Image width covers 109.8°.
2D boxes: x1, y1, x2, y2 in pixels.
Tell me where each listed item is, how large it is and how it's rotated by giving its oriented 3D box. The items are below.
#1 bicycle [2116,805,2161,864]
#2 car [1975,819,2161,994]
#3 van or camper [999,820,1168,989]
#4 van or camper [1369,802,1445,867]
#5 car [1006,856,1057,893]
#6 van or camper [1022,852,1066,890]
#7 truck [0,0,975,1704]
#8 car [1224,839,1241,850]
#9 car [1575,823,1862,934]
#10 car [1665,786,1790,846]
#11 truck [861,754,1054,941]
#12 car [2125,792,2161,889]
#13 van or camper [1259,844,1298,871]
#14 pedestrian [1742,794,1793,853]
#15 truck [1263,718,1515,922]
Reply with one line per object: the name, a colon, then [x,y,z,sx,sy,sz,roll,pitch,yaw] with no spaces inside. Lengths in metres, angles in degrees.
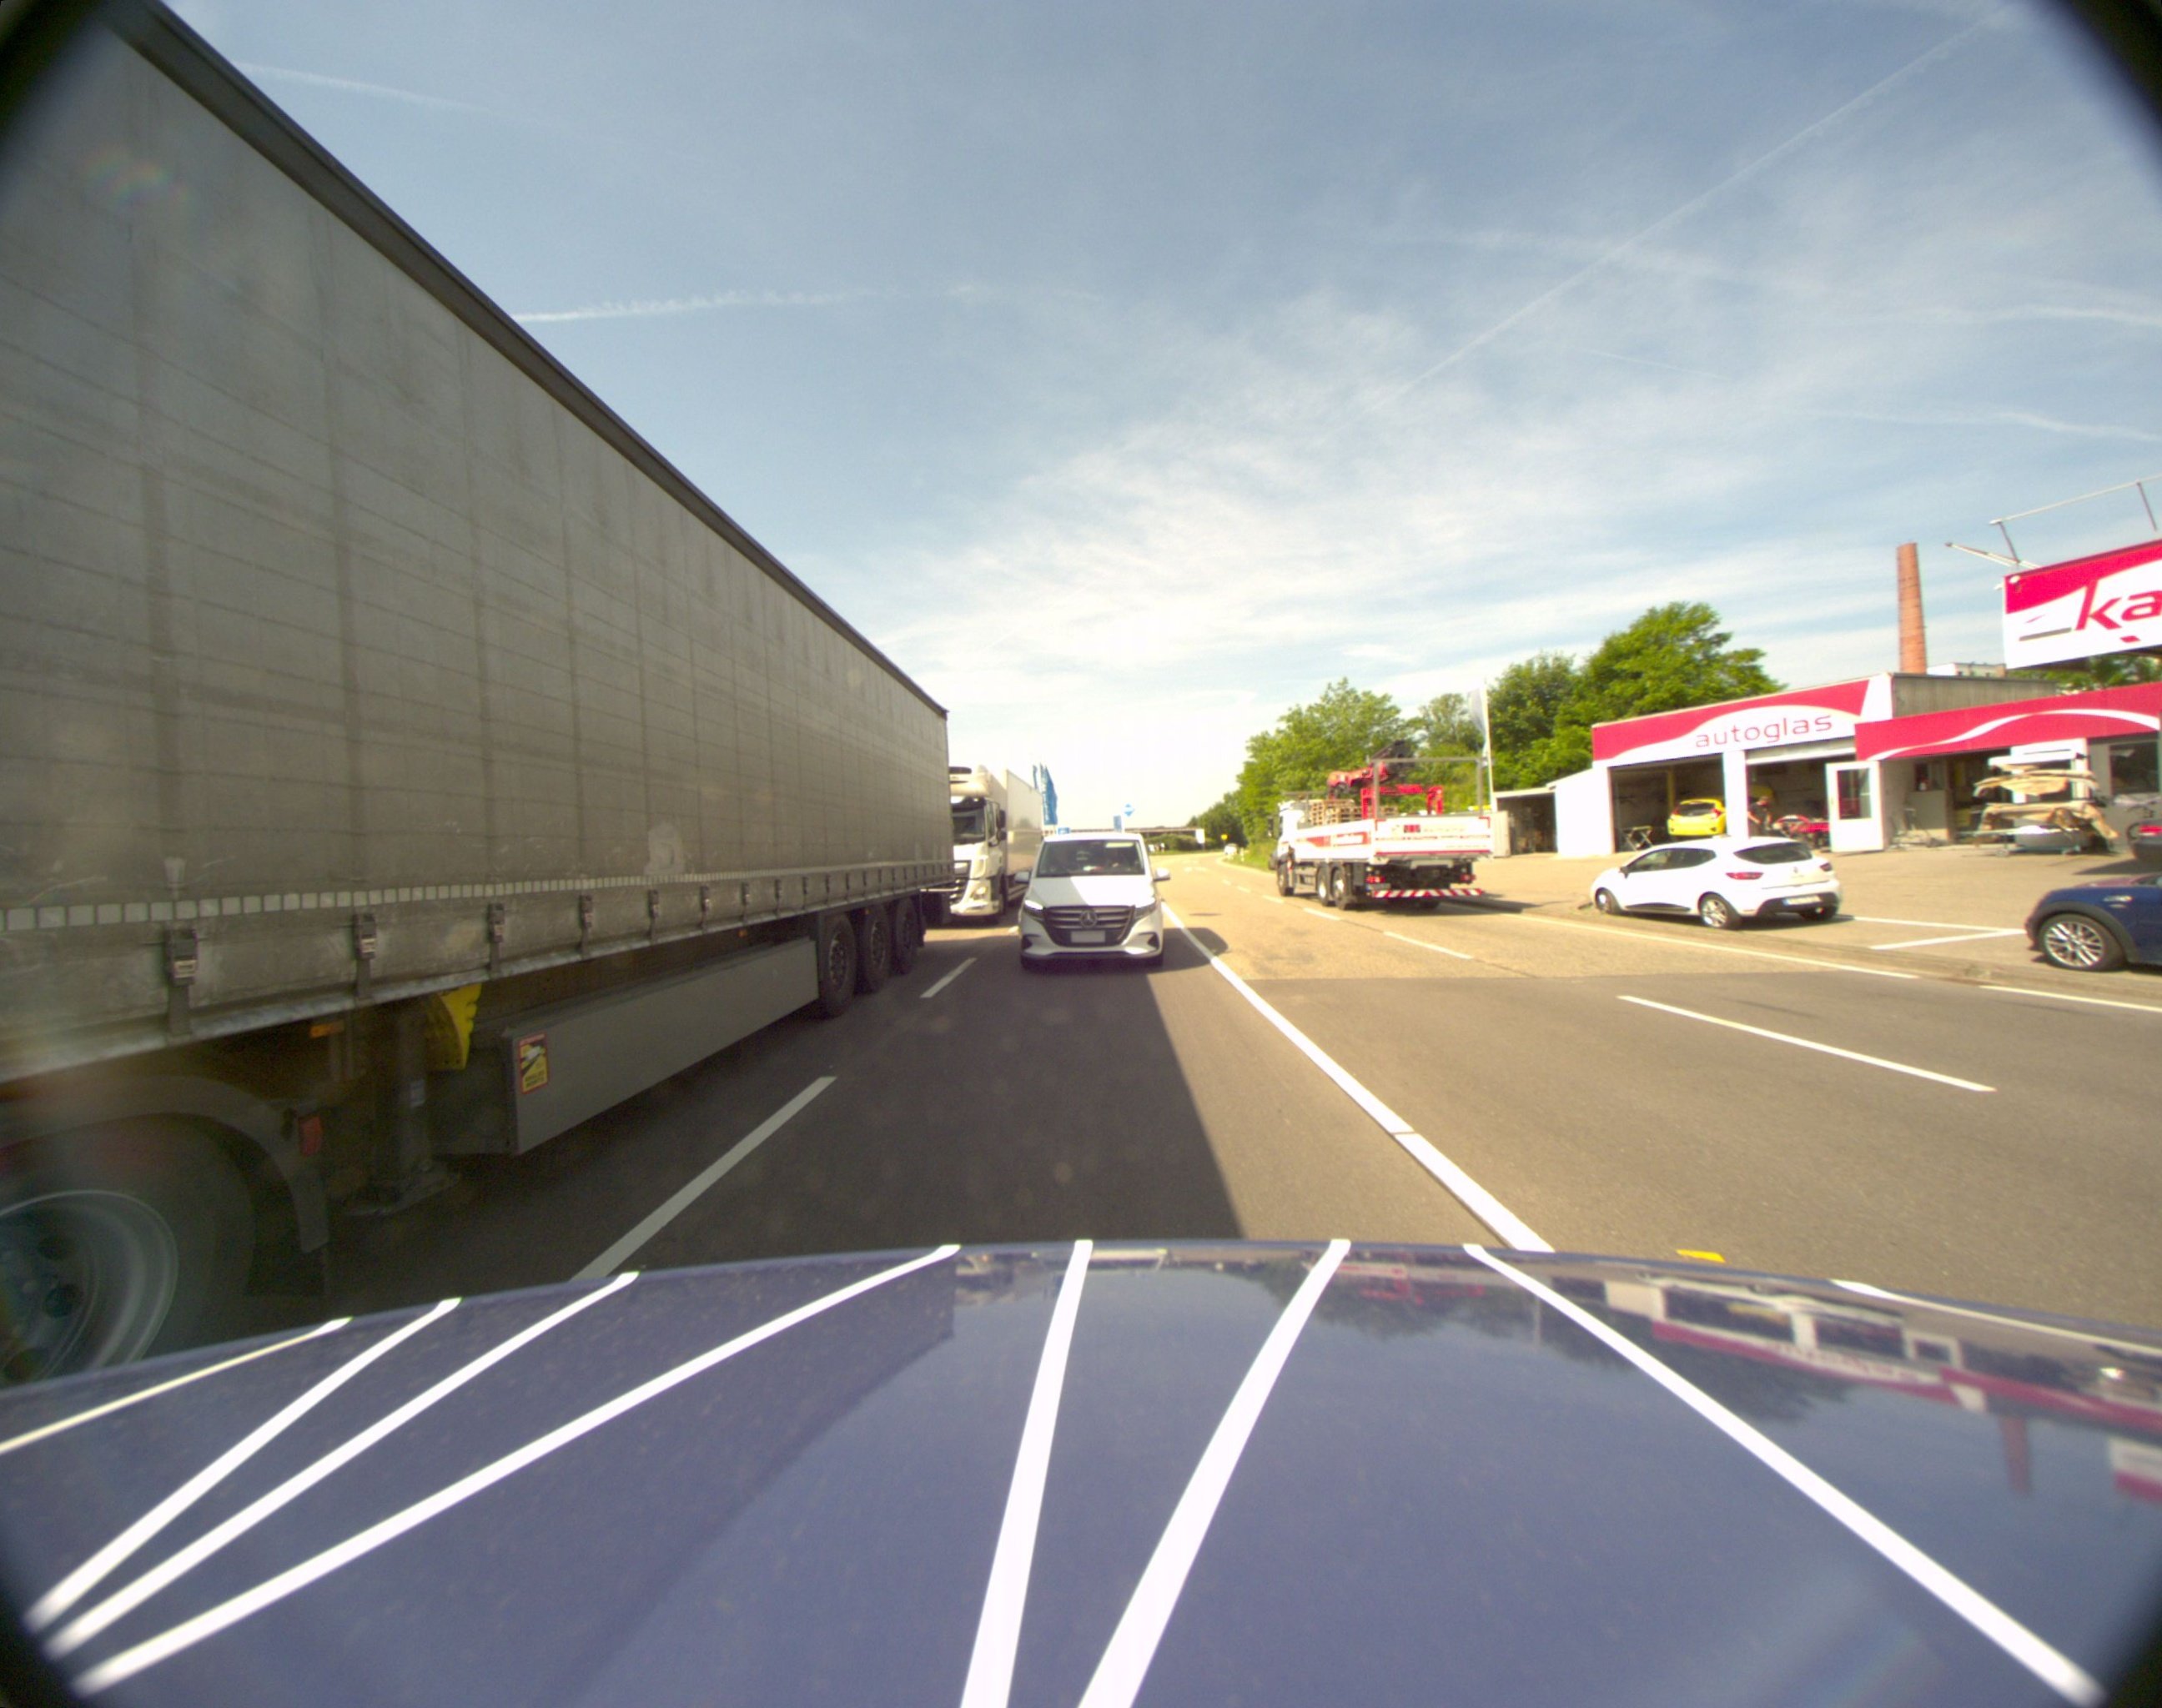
bicycle: [21.655,-0.406,15.318,2.000,0.966,0.414,-8,3,-21]
car: [10.963,0.482,6.641,1.783,1.485,3.781,-7,0,2]
van or camper: [0.134,0.610,11.920,1.998,2.002,5.291,-2,0,2]
van or camper: [14.822,-0.881,34.926,2.157,2.484,5.955,-6,0,15]
car: [-2.123,0.855,33.706,1.739,1.420,4.225,-3,1,2]
van or camper: [-1.942,0.852,41.303,1.750,1.777,5.133,-3,1,3]
truck: [-3.655,-0.330,4.804,2.897,4.241,16.709,-3,0,2]
car: [23.116,-1.475,115.835,1.937,1.665,4.005,-1,1,20]
car: [11.009,0.357,13.569,1.783,1.608,4.000,-3,1,2]
car: [22.651,-1.331,26.622,3.674,1.715,1.736,-6,2,-22]
truck: [-2.783,-0.171,21.418,2.886,3.789,11.143,-3,0,3]
car: [18.679,-0.365,10.645,1.861,1.496,4.390,-6,-1,-22]
van or camper: [12.605,0.172,48.706,1.643,1.515,4.468,-4,1,5]
pedestrian: [21.199,-0.936,23.469,0.724,1.752,0.895,-3,1,3]
truck: [7.673,-0.716,21.117,2.963,4.184,10.647,-1,0,2]
